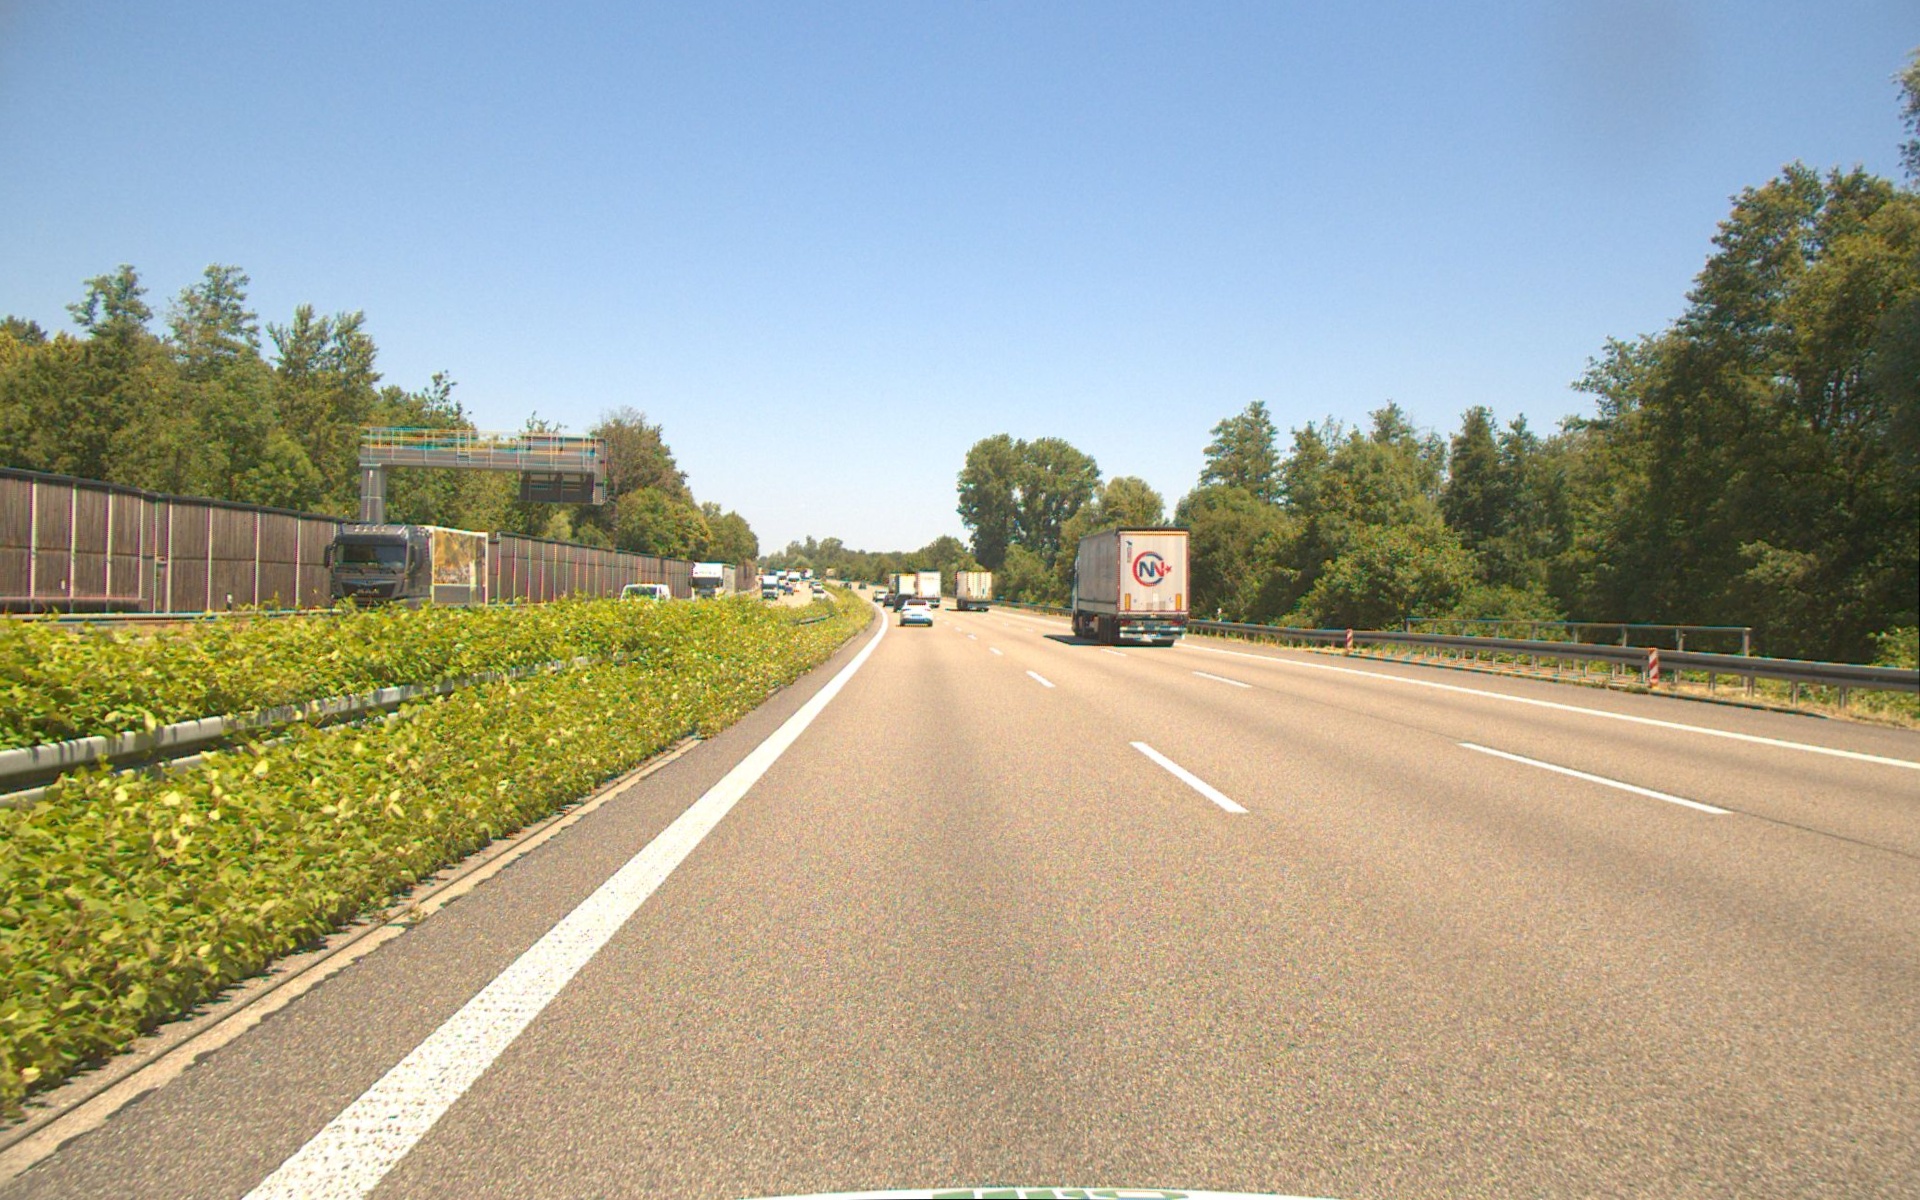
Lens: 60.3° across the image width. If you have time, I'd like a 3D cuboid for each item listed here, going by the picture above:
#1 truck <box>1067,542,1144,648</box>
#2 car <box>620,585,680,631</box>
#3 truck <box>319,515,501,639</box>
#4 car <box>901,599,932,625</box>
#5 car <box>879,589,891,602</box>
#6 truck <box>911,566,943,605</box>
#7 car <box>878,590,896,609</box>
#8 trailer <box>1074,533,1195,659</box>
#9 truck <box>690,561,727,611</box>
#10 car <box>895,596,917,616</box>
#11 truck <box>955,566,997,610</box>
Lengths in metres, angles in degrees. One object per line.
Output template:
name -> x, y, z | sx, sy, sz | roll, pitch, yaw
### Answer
truck -> 6.202, -0.217, 71.167 | 2.554, 4.362, 5.432 | 1, 0, -3
car -> -14.459, 0.355, 77.359 | 1.953, 2.049, 5.100 | 1, 0, -1
truck -> -17.747, -0.694, 54.197 | 2.812, 3.668, 9.949 | 1, 0, -1
car -> -2.422, 0.673, 92.101 | 1.680, 1.393, 3.374 | 1, 0, -1
car -> -11.045, -0.711, 242.854 | 1.690, 1.814, 3.997 | 0, 0, -4
truck -> -3.914, -1.657, 194.111 | 3.293, 4.386, 10.820 | 1, 0, -4
car -> -8.460, -0.072, 191.135 | 1.954, 2.049, 3.997 | 0, 0, -4
trailer -> 6.521, -0.161, 64.181 | 2.571, 4.335, 14.054 | 1, 0, -2
truck -> -21.616, -1.171, 142.442 | 2.469, 4.137, 6.367 | 1, 0, -3
car -> -5.026, 0.566, 153.844 | 1.954, 1.803, 3.998 | 1, 0, -3
truck -> 1.598, -1.223, 169.576 | 3.423, 4.386, 10.980 | 1, 0, -4
